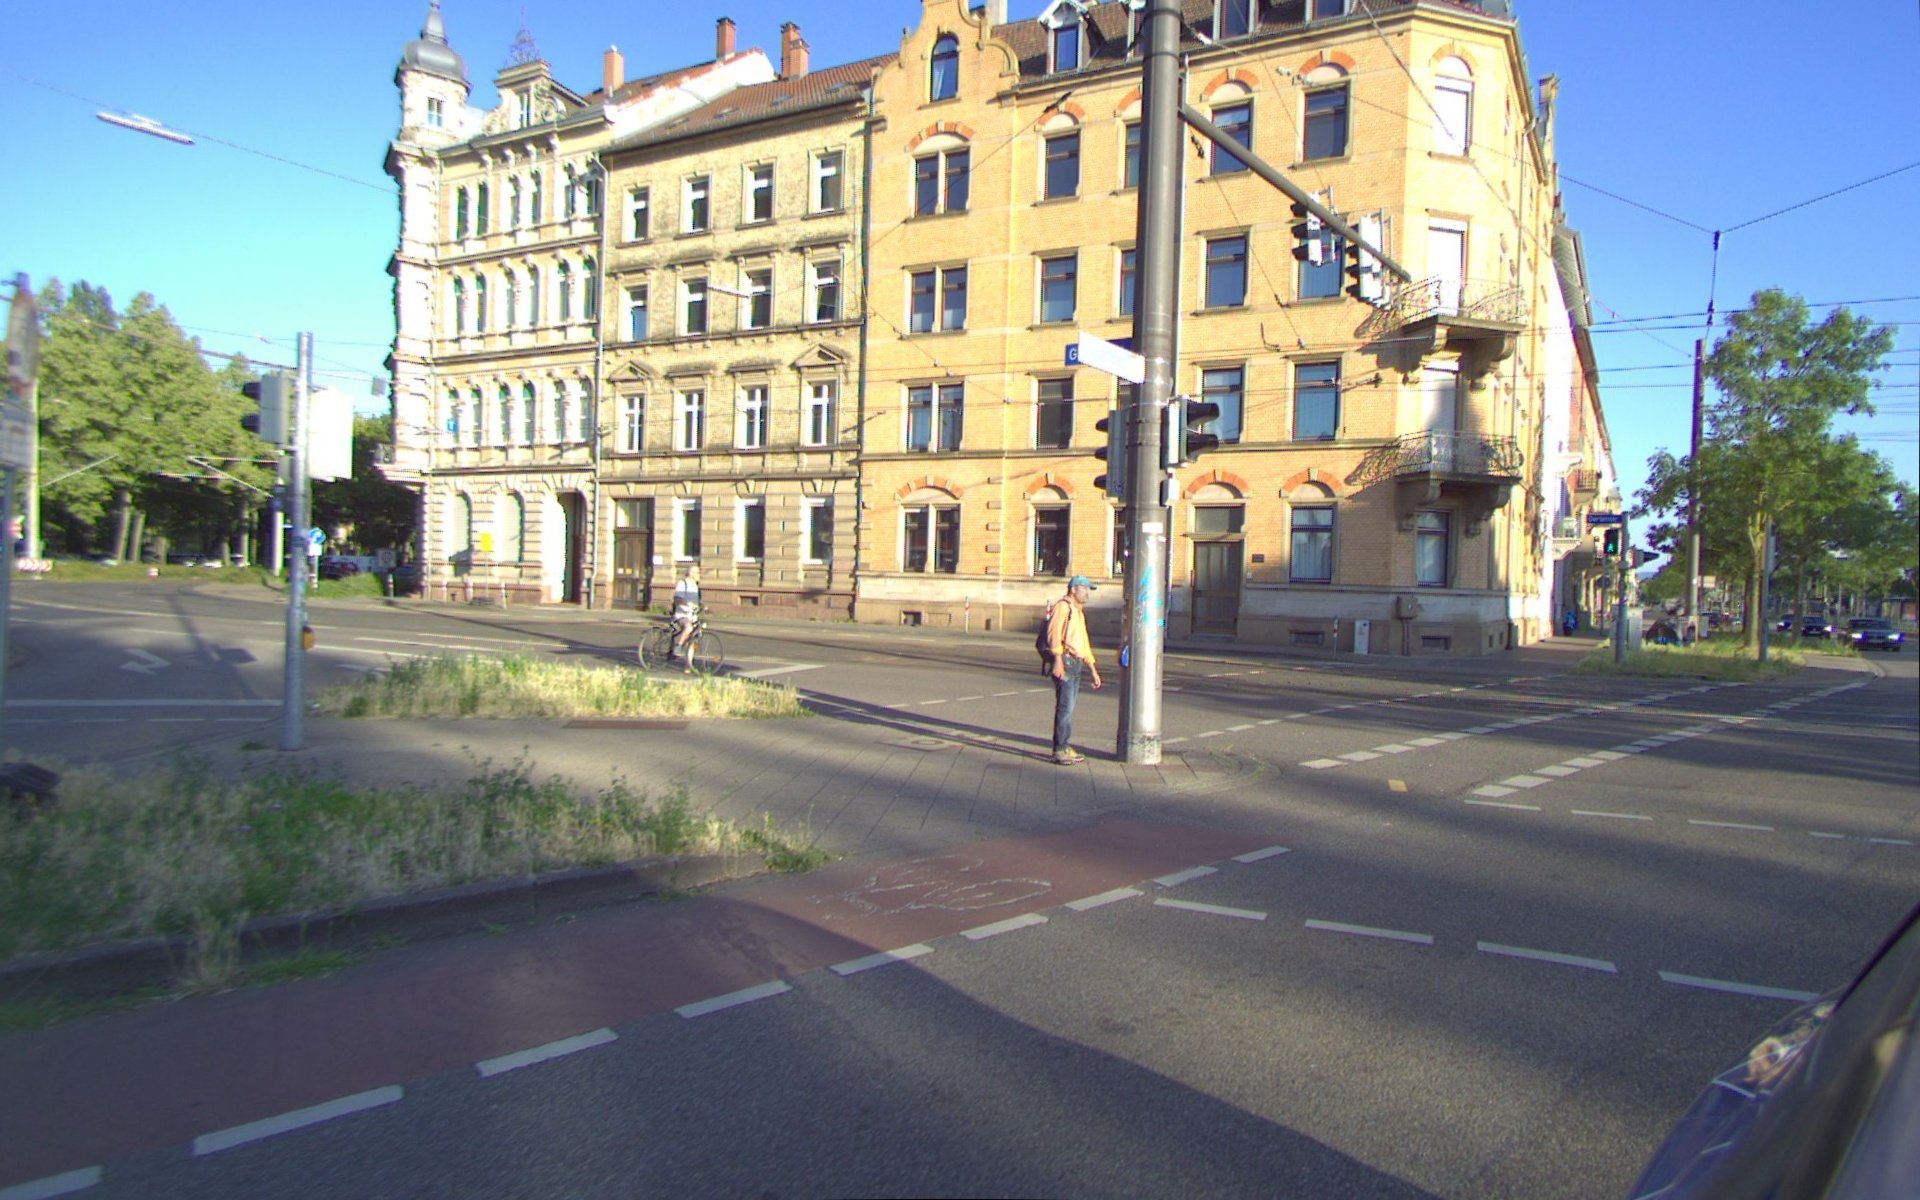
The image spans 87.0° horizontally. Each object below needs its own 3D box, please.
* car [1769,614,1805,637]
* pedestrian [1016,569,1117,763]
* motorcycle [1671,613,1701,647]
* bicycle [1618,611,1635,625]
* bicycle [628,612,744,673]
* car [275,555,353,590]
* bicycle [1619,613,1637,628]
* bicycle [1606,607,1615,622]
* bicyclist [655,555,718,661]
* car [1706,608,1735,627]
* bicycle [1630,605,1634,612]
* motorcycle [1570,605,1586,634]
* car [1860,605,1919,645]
[{"bbox_3d":[66.718,2.040,81.616,1.993,1.686,3.939,2,1,42],"label":"car"},{"bbox_3d":[0.953,0.559,9.066,0.552,1.649,0.688,2,1,45],"label":"pedestrian"},{"bbox_3d":[24.279,0.992,33.846,0.604,1.057,1.718,2,1,42],"label":"motorcycle"},{"bbox_3d":[46.607,1.253,70.744,0.732,0.960,2.307,4,2,38],"label":"bicycle"},{"bbox_3d":[-4.301,0.643,15.853,1.798,0.839,0.616,2,1,27],"label":"bicycle"},{"bbox_3d":[-32.368,-1.351,50.812,1.786,1.638,4.007,2,1,-8],"label":"car"},{"bbox_3d":[45.268,1.379,68.594,0.870,0.927,2.057,4,2,37],"label":"bicycle"},{"bbox_3d":[54.905,1.206,85.392,0.482,1.178,1.724,8,4,35],"label":"bicycle"},{"bbox_3d":[-4.282,0.115,15.856,0.689,1.603,0.631,2,1,27],"label":"bicyclist"},{"bbox_3d":[59.134,1.345,78.733,1.698,1.467,4.233,-1,-1,36],"label":"car"},{"bbox_3d":[106.748,1.363,160.747,0.577,1.003,1.904,2,1,34],"label":"bicycle"},{"bbox_3d":[27.862,0.871,45.613,0.551,1.229,2.048,0,0,33],"label":"motorcycle"},{"bbox_3d":[42.390,1.090,46.134,1.993,1.686,3.939,2,1,42],"label":"car"}]
